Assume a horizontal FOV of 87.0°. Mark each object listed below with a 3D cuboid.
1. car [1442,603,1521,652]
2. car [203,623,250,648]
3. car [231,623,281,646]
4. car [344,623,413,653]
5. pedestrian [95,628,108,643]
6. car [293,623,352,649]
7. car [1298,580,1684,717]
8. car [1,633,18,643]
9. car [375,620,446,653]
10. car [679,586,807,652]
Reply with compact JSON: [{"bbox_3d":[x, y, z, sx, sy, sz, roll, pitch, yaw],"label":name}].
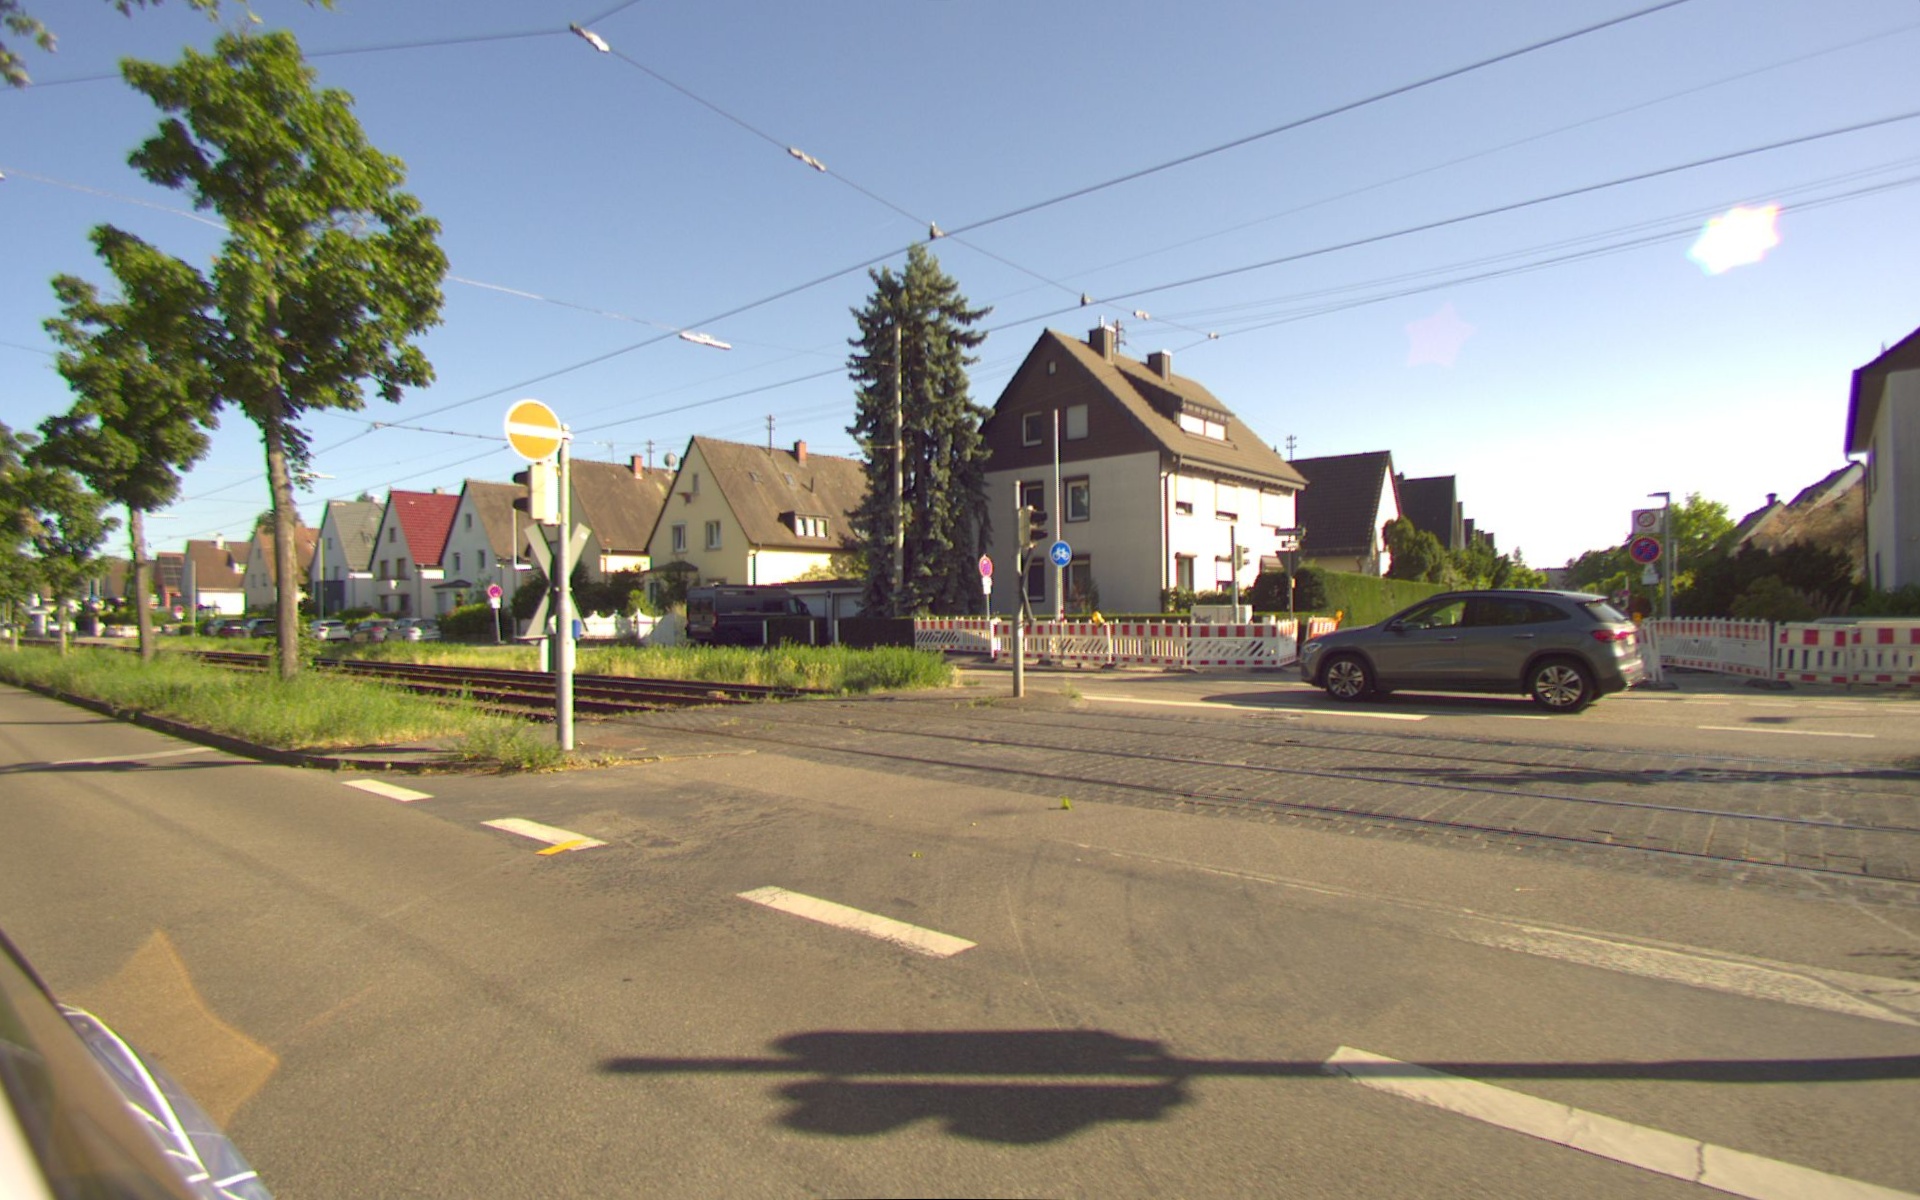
[{"bbox_3d":[18.773,0.945,36.361,1.742,1.561,3.948,-1,0,39],"label":"car"},{"bbox_3d":[-55.588,2.676,76.679,4.389,1.726,1.973,-1,0,41],"label":"car"},{"bbox_3d":[-49.232,2.386,70.777,4.254,1.506,1.906,-1,0,41],"label":"car"},{"bbox_3d":[-31.884,2.057,55.458,4.126,1.460,1.973,-1,3,41],"label":"car"},{"bbox_3d":[-91.041,3.787,107.334,0.791,1.546,0.805,-4,-2,29],"label":"pedestrian"},{"bbox_3d":[-38.818,2.158,61.597,4.410,1.437,1.972,-1,0,43],"label":"car"},{"bbox_3d":[7.353,0.600,14.275,4.471,1.615,1.973,-1,0,41],"label":"car"},{"bbox_3d":[-151.967,6.020,161.804,3.754,1.501,1.716,-1,0,42],"label":"car"},{"bbox_3d":[-28.450,1.884,52.334,4.055,1.565,1.926,-1,0,41],"label":"car"},{"bbox_3d":[-9.091,0.776,42.741,2.101,2.645,4.976,-3,-1,41],"label":"car"}]
